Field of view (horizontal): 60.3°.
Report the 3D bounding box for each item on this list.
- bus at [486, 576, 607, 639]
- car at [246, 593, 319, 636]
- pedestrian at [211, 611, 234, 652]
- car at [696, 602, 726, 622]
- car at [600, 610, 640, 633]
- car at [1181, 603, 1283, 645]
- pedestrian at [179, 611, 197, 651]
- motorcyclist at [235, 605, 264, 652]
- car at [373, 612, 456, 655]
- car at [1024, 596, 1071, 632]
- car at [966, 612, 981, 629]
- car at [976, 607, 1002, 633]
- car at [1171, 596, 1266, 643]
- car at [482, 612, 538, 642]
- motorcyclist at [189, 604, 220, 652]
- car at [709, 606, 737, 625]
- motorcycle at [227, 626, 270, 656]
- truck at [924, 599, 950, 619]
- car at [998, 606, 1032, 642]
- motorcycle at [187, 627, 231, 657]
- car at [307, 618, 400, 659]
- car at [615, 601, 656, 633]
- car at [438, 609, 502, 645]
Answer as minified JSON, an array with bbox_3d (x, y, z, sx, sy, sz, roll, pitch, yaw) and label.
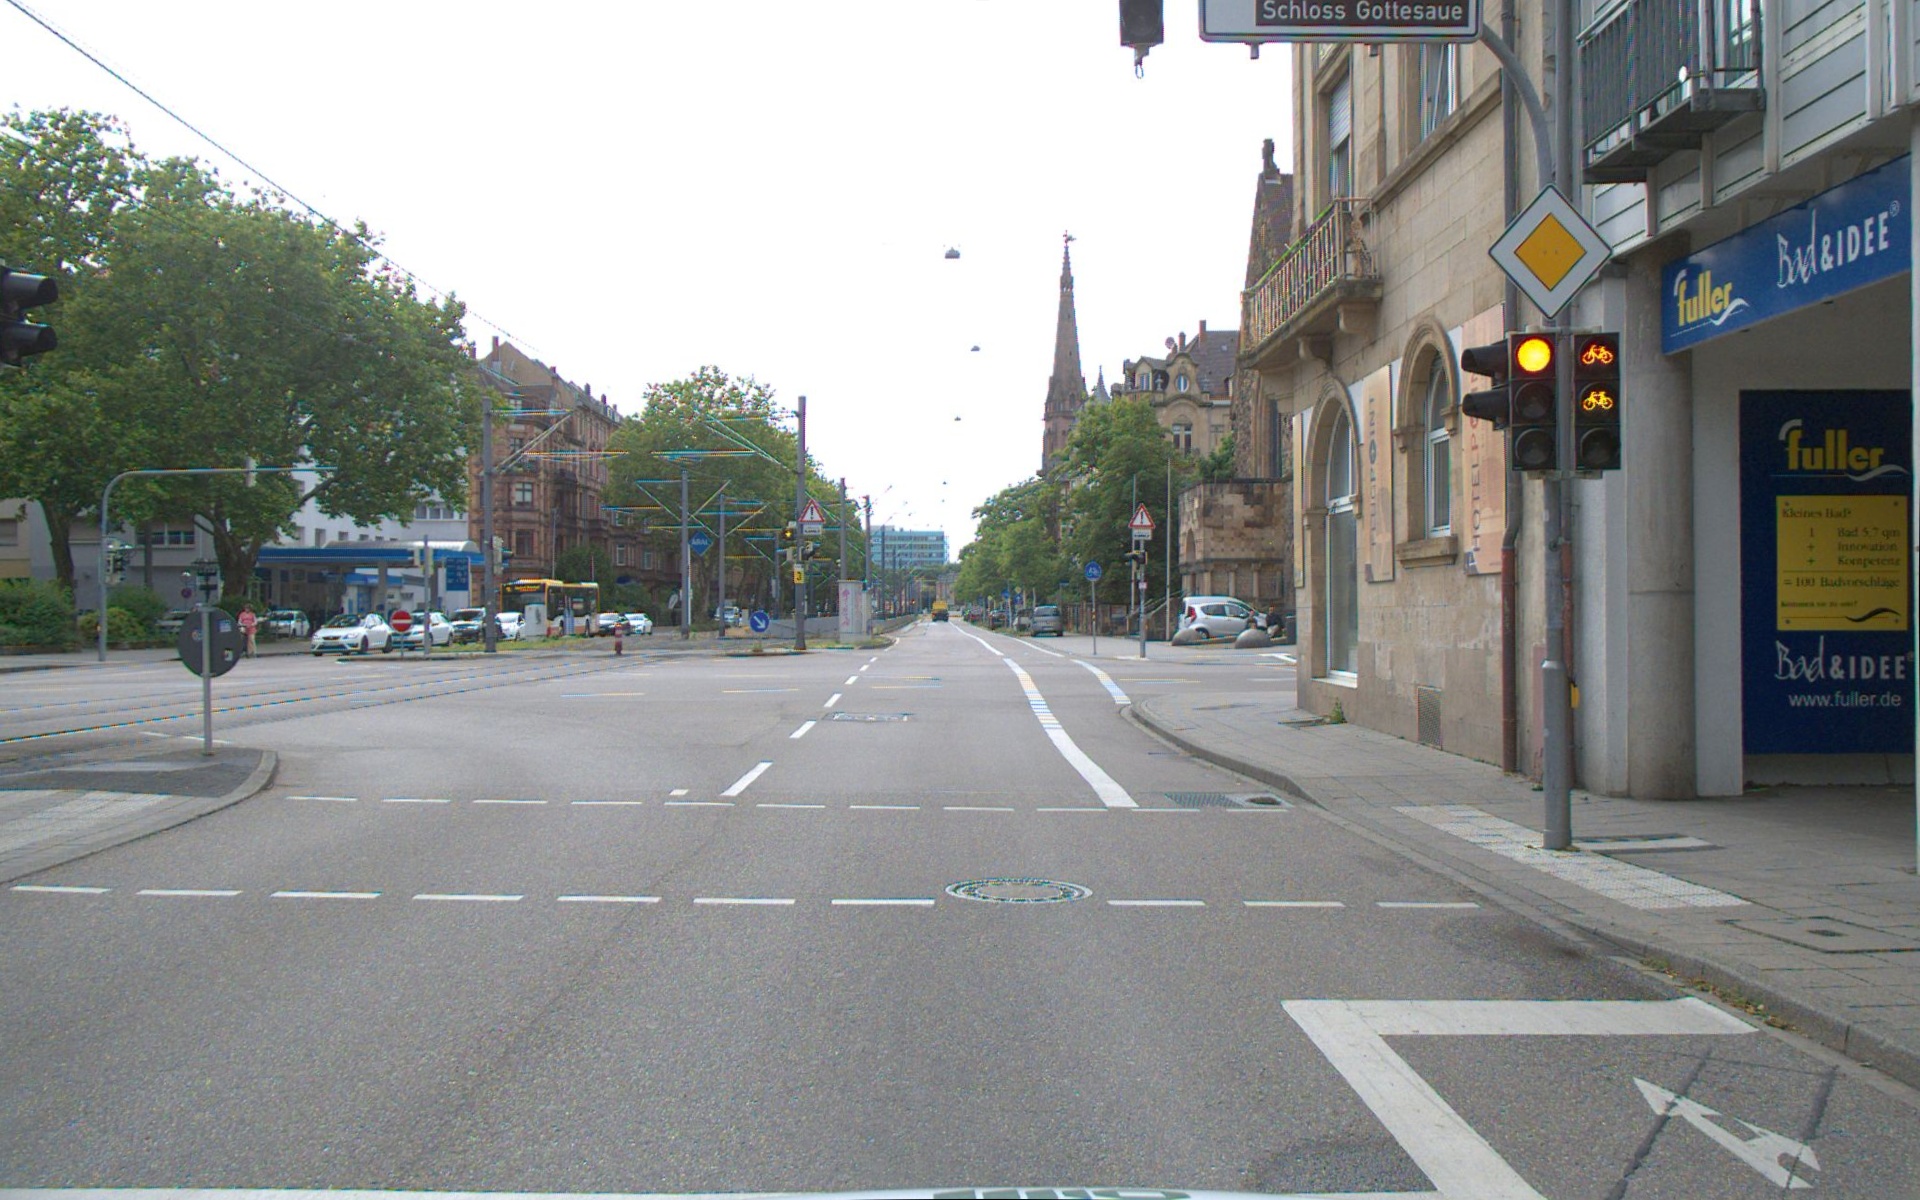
[{"bbox_3d":[-21.972,0.419,88.746,3.164,3.088,12.312,1,0,1],"label":"bus"},{"bbox_3d":[-32.870,0.691,80.389,1.953,2.049,3.999,0,0,-1],"label":"car"},{"bbox_3d":[-27.729,1.179,62.176,0.634,1.505,0.557,0,0,-1],"label":"pedestrian"},{"bbox_3d":[-21.228,1.027,141.174,1.953,1.639,3.999,1,0,-1],"label":"car"},{"bbox_3d":[-20.902,1.306,101.862,1.622,1.344,3.638,1,0,1],"label":"car"},{"bbox_3d":[10.669,0.930,65.035,3.638,1.591,2.000,1,0,-1],"label":"car"},{"bbox_3d":[-28.783,1.152,61.654,0.466,1.485,0.426,0,0,-1],"label":"pedestrian"},{"bbox_3d":[-23.567,0.950,54.880,0.607,1.546,0.873,0,0,-1],"label":"motorcyclist"},{"bbox_3d":[-21.429,1.288,65.120,1.953,1.622,3.999,1,0,-1],"label":"car"},{"bbox_3d":[4.810,0.775,90.039,1.951,1.888,4.030,1,0,12],"label":"car"},{"bbox_3d":[1.761,2.669,216.815,1.953,2.049,3.999,1,0,-1],"label":"car"},{"bbox_3d":[2.369,1.634,136.195,1.953,2.049,3.999,1,0,-1],"label":"car"},{"bbox_3d":[10.686,0.799,68.548,3.638,1.888,2.000,1,0,-1],"label":"car"},{"bbox_3d":[-21.385,1.285,78.692,1.622,1.344,3.638,1,0,1],"label":"car"},{"bbox_3d":[-24.654,0.915,54.009,0.607,1.546,0.873,0,0,-1],"label":"motorcyclist"},{"bbox_3d":[-21.344,1.384,148.983,1.953,1.639,3.999,1,0,-1],"label":"car"},{"bbox_3d":[-23.557,1.347,54.804,0.594,0.945,1.951,0,0,0],"label":"motorcycle"},{"bbox_3d":[-3.267,1.278,237.277,2.991,2.817,9.818,0,0,3],"label":"truck"},{"bbox_3d":[3.283,1.425,99.657,1.952,2.049,4.000,1,0,1],"label":"car"},{"bbox_3d":[-24.632,1.370,54.278,0.594,0.945,1.951,0,0,0],"label":"motorcycle"},{"bbox_3d":[-21.441,1.331,58.596,1.711,1.344,4.075,1,0,1],"label":"car"},{"bbox_3d":[-21.416,1.135,109.251,1.953,2.049,3.999,1,0,-1],"label":"car"},{"bbox_3d":[-21.228,1.140,71.773,1.622,1.504,3.638,1,0,1],"label":"car"}]
